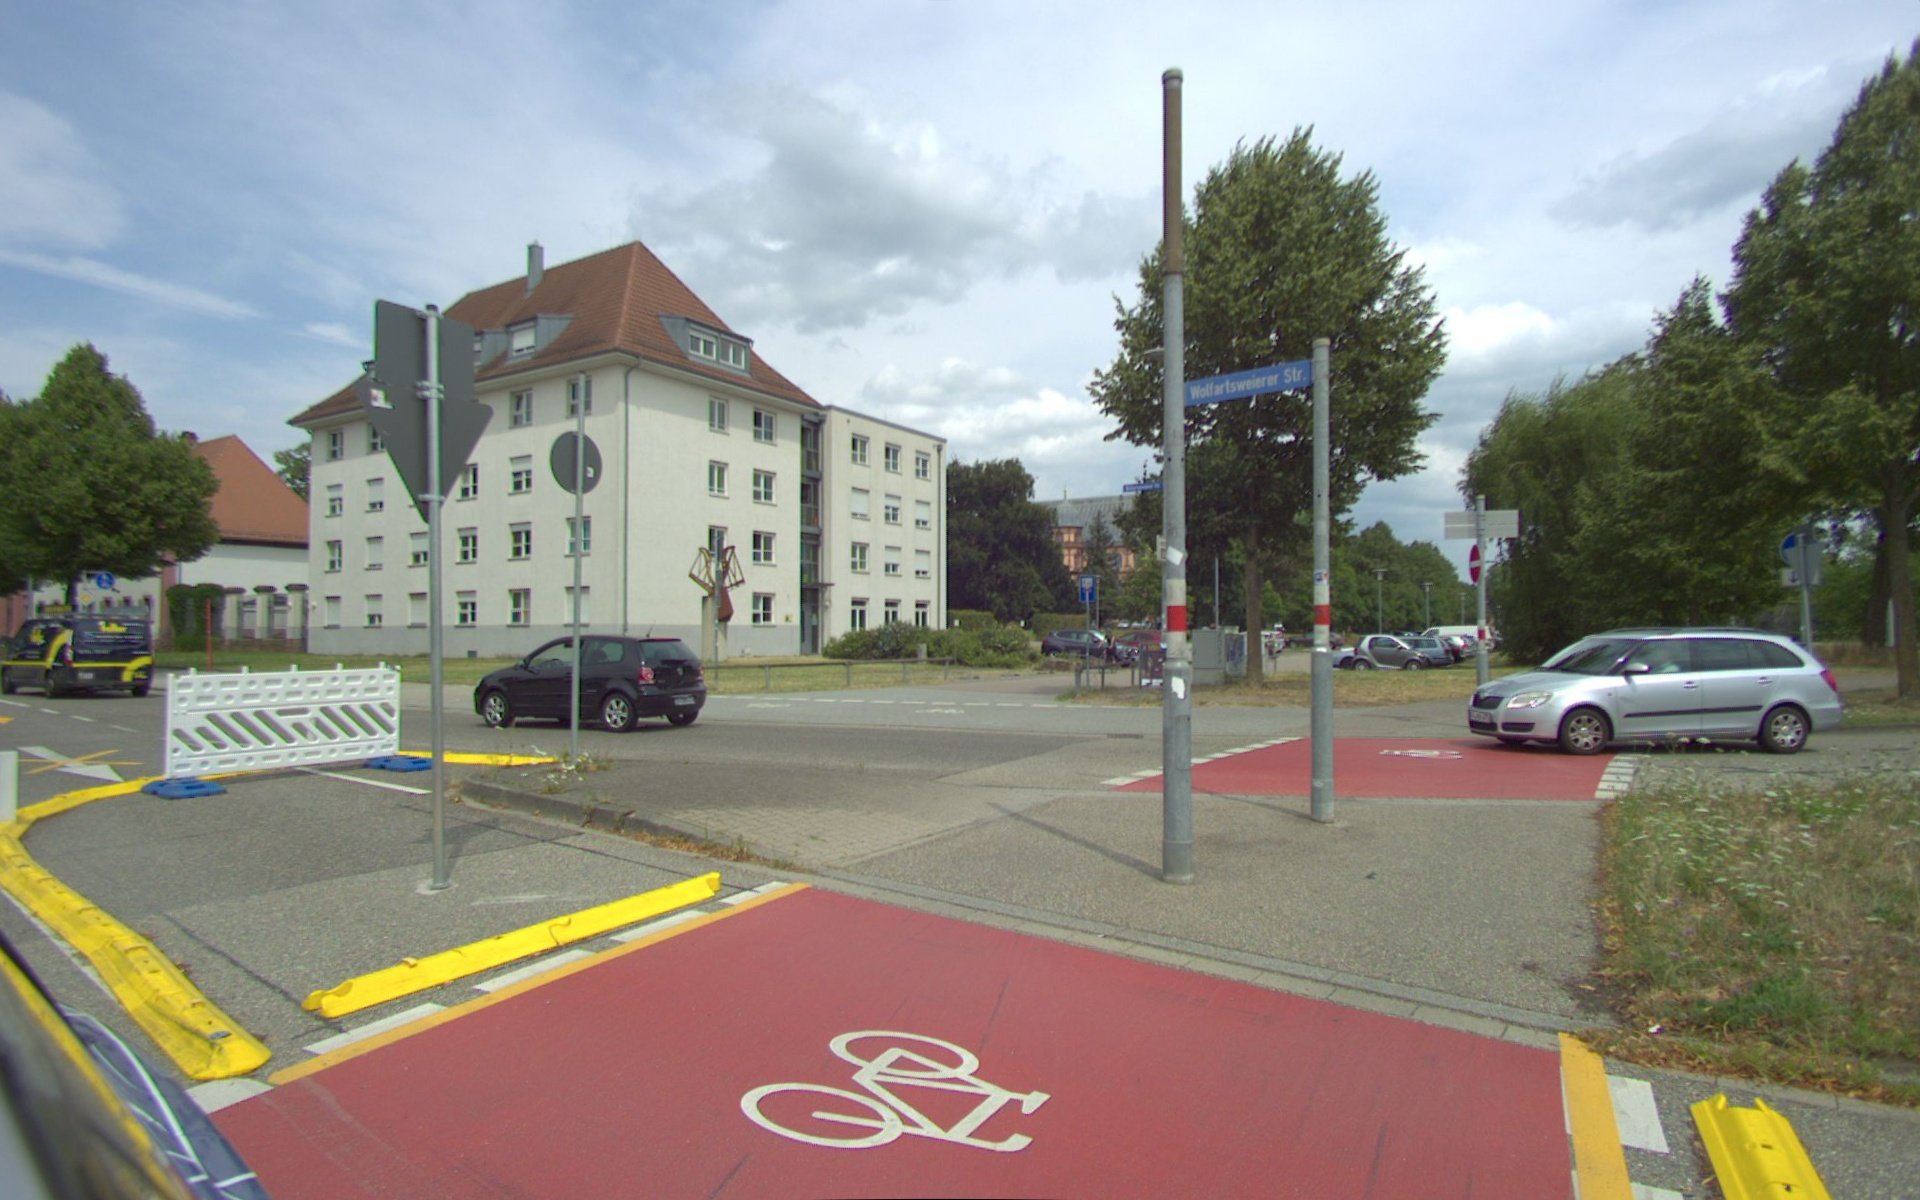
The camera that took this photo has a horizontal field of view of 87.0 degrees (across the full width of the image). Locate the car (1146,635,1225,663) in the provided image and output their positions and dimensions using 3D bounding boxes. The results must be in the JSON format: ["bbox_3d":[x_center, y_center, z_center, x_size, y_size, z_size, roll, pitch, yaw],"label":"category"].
[{"bbox_3d":[12.453,2.669,55.970,3.993,1.479,1.598,-1,-2,31],"label":"car"}]

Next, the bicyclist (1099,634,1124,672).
[{"bbox_3d":[5.743,1.996,38.427,0.601,1.434,0.793,-2,-3,39],"label":"bicyclist"}]

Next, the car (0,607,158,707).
[{"bbox_3d":[-22.557,1.408,25.701,5.147,2.290,1.977,-2,-2,35],"label":"car"}]

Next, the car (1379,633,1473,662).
[{"bbox_3d":[25.074,2.556,54.490,4.373,1.482,1.813,-1,-2,33],"label":"car"}]

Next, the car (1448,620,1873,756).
[{"bbox_3d":[8.553,1.041,12.586,4.156,1.530,1.630,0,-2,-3],"label":"car"}]

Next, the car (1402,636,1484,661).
[{"bbox_3d":[29.124,2.902,61.092,4.298,1.482,1.813,-1,-2,33],"label":"car"}]

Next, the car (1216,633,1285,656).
[{"bbox_3d":[19.041,2.903,66.386,3.993,1.479,1.798,-1,-2,31],"label":"car"}]

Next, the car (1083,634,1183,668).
[{"bbox_3d":[8.398,2.454,49.265,4.394,1.610,1.977,-2,-2,33],"label":"car"}]

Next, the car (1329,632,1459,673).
[{"bbox_3d":[17.830,2.179,41.645,4.687,1.482,1.815,-4,-3,30],"label":"car"}]

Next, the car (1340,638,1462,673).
[{"bbox_3d":[20.110,2.501,46.244,4.873,1.482,1.813,-1,-2,33],"label":"car"}]

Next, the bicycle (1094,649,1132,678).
[{"bbox_3d":[5.814,2.404,38.490,0.601,1.054,1.805,-2,-3,39],"label":"bicycle"}]

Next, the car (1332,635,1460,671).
[{"bbox_3d":[18.986,2.291,44.148,4.873,1.482,1.813,-1,-2,33],"label":"car"}]

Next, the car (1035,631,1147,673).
[{"bbox_3d":[5.744,2.262,44.512,4.484,1.778,1.979,-1,-2,31],"label":"car"}]

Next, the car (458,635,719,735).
[{"bbox_3d":[-5.794,1.295,15.815,3.696,1.426,1.620,-2,-4,22],"label":"car"}]

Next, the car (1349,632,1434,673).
[{"bbox_3d":[16.773,2.051,39.347,2.900,1.434,1.471,-4,-4,26],"label":"car"}]

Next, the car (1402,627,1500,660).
[{"bbox_3d":[31.689,2.783,65.393,5.548,2.072,2.178,-1,-2,30],"label":"car"}]

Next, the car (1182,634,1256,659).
[{"bbox_3d":[15.615,2.786,61.009,3.993,1.479,1.798,-1,-2,31],"label":"car"}]

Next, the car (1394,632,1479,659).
[{"bbox_3d":[27.733,2.639,58.905,4.298,1.482,1.813,-1,-2,33],"label":"car"}]
